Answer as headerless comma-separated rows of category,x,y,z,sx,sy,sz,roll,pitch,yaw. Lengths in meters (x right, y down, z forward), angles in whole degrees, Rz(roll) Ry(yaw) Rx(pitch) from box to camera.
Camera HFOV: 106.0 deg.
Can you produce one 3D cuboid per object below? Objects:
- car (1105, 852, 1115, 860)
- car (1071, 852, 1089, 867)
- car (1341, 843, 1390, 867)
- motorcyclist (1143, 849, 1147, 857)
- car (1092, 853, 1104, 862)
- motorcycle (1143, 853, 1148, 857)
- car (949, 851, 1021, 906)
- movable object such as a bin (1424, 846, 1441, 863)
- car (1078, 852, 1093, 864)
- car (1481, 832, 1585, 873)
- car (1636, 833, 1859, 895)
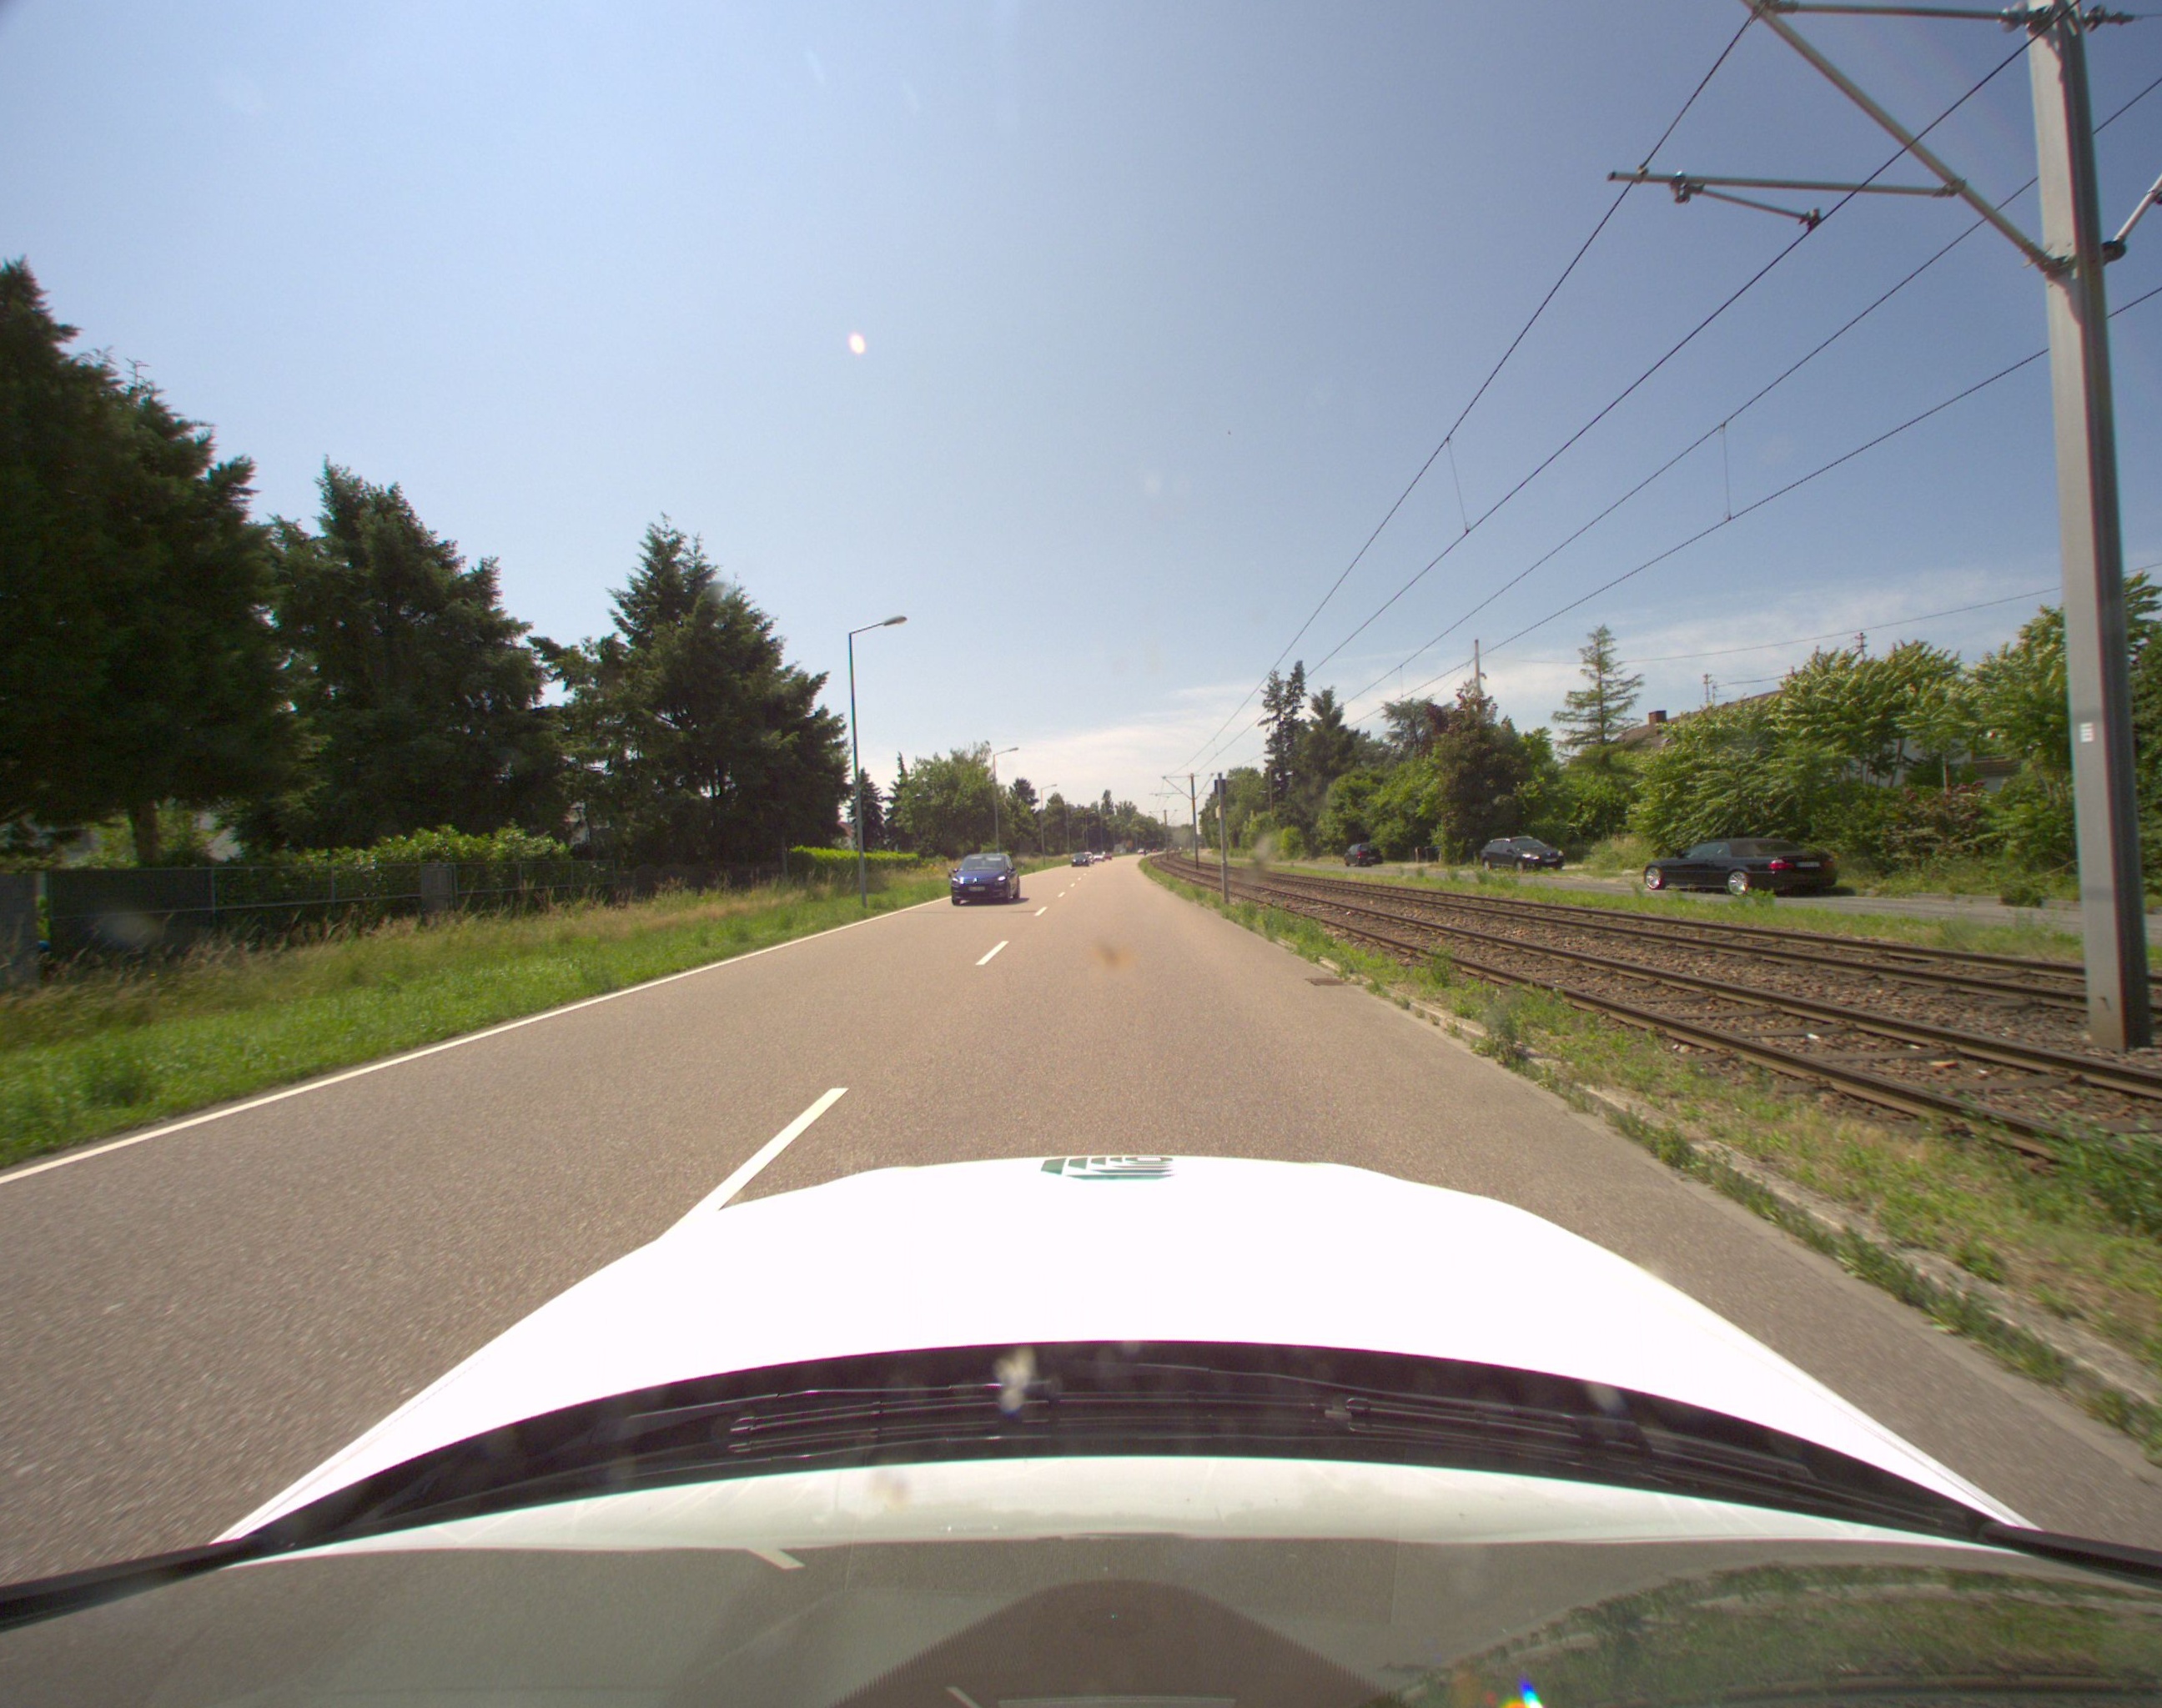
car,5.115,0.329,143.702,1.742,1.301,4.256,-2,0,3
car,-0.044,0.599,88.271,1.693,1.491,4.443,-2,0,2
car,18.484,0.058,53.015,1.906,1.470,4.003,-2,0,2
motorcyclist,16.498,-0.306,208.823,0.887,1.905,1.017,-2,0,6
car,2.589,0.494,125.054,1.675,1.249,3.912,-2,0,3
motorcycle,16.525,0.242,208.756,0.965,1.117,2.738,-2,0,7
car,-3.067,0.742,26.856,1.740,1.632,4.031,-2,0,2
movable object such as a bin,20.824,0.035,48.273,0.721,0.937,0.621,-2,0,2
car,0.644,0.506,105.505,1.740,1.503,3.710,-2,0,3
car,19.251,-0.061,34.961,1.928,1.561,4.555,-2,0,0
car,16.268,0.227,20.255,1.855,1.330,4.514,-2,0,0
